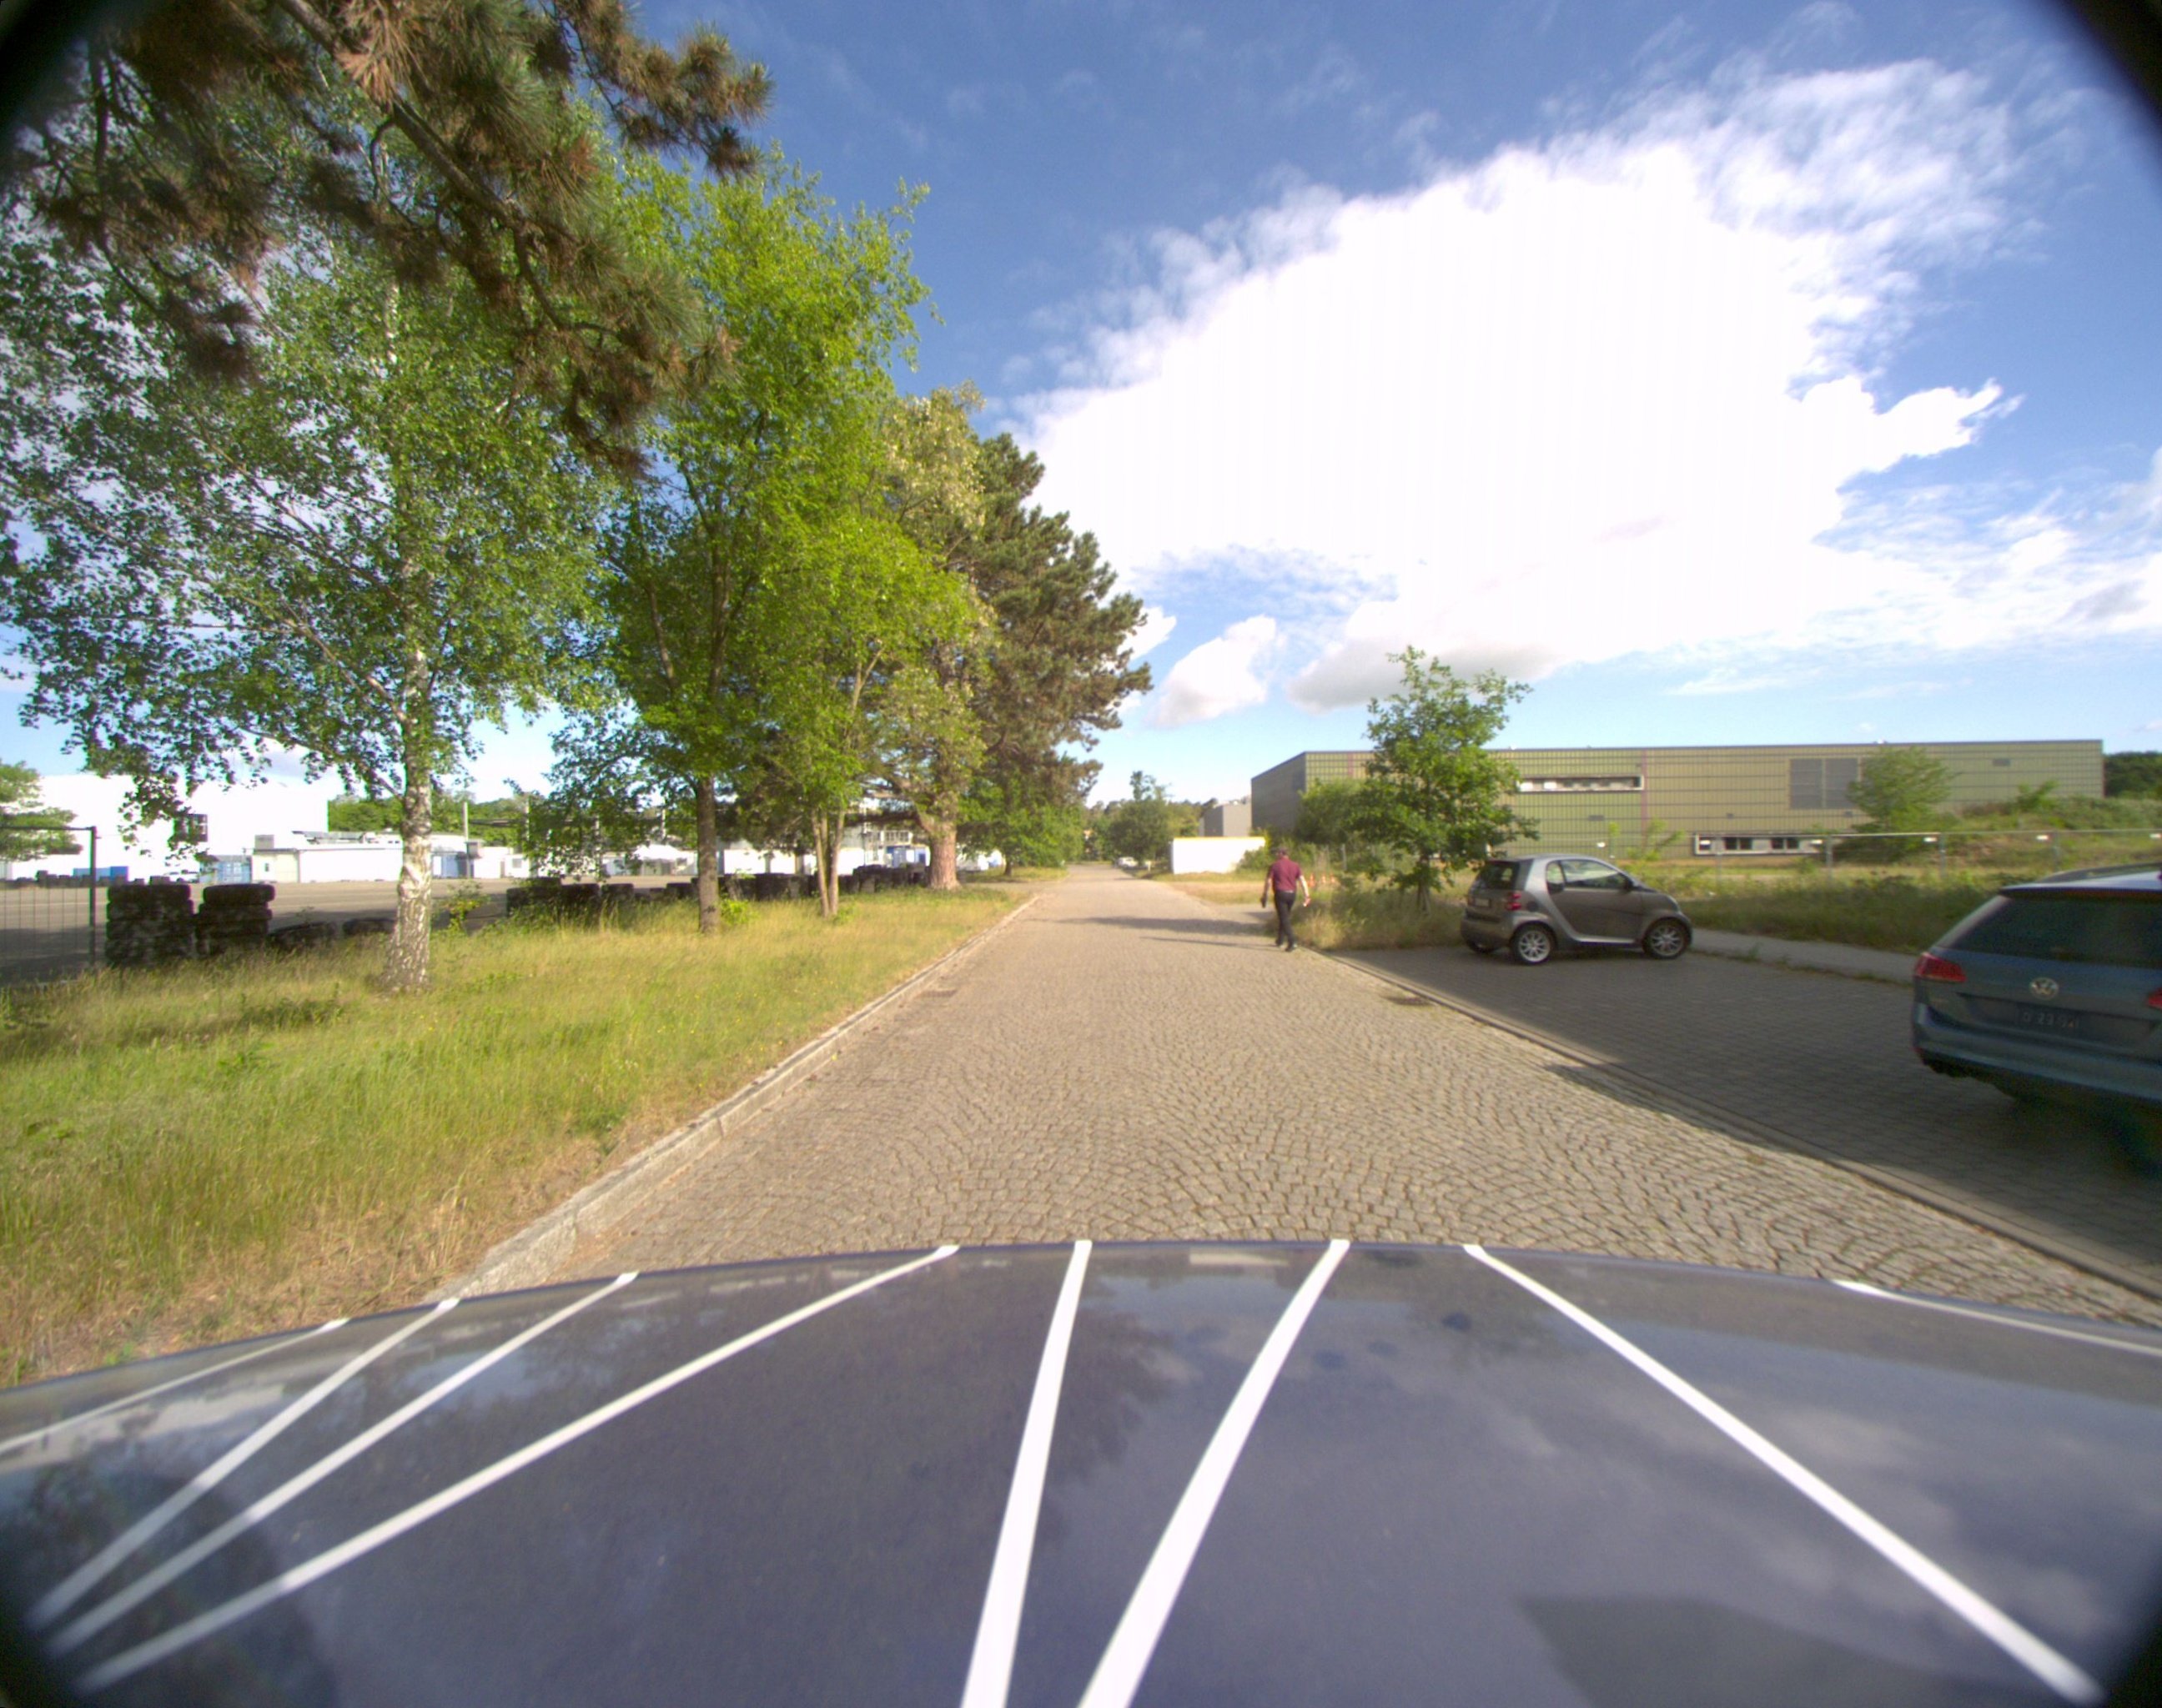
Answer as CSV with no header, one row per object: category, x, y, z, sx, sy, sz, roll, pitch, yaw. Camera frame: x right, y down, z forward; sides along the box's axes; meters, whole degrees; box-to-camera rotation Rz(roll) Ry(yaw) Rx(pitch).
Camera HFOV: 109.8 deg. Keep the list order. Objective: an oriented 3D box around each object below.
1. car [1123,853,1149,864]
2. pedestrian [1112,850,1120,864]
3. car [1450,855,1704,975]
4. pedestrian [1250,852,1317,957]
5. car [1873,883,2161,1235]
car,8.536,0.700,118.559,3.996,1.678,2.000,-1,0,4
pedestrian,4.704,0.395,102.366,0.908,1.796,0.983,-1,1,-6
car,7.194,0.837,11.209,2.705,1.533,1.518,-2,1,0
pedestrian,3.538,0.853,13.363,0.806,1.761,1.152,-1,1,-3
car,6.972,0.894,3.827,4.268,1.455,1.680,-3,1,-1
